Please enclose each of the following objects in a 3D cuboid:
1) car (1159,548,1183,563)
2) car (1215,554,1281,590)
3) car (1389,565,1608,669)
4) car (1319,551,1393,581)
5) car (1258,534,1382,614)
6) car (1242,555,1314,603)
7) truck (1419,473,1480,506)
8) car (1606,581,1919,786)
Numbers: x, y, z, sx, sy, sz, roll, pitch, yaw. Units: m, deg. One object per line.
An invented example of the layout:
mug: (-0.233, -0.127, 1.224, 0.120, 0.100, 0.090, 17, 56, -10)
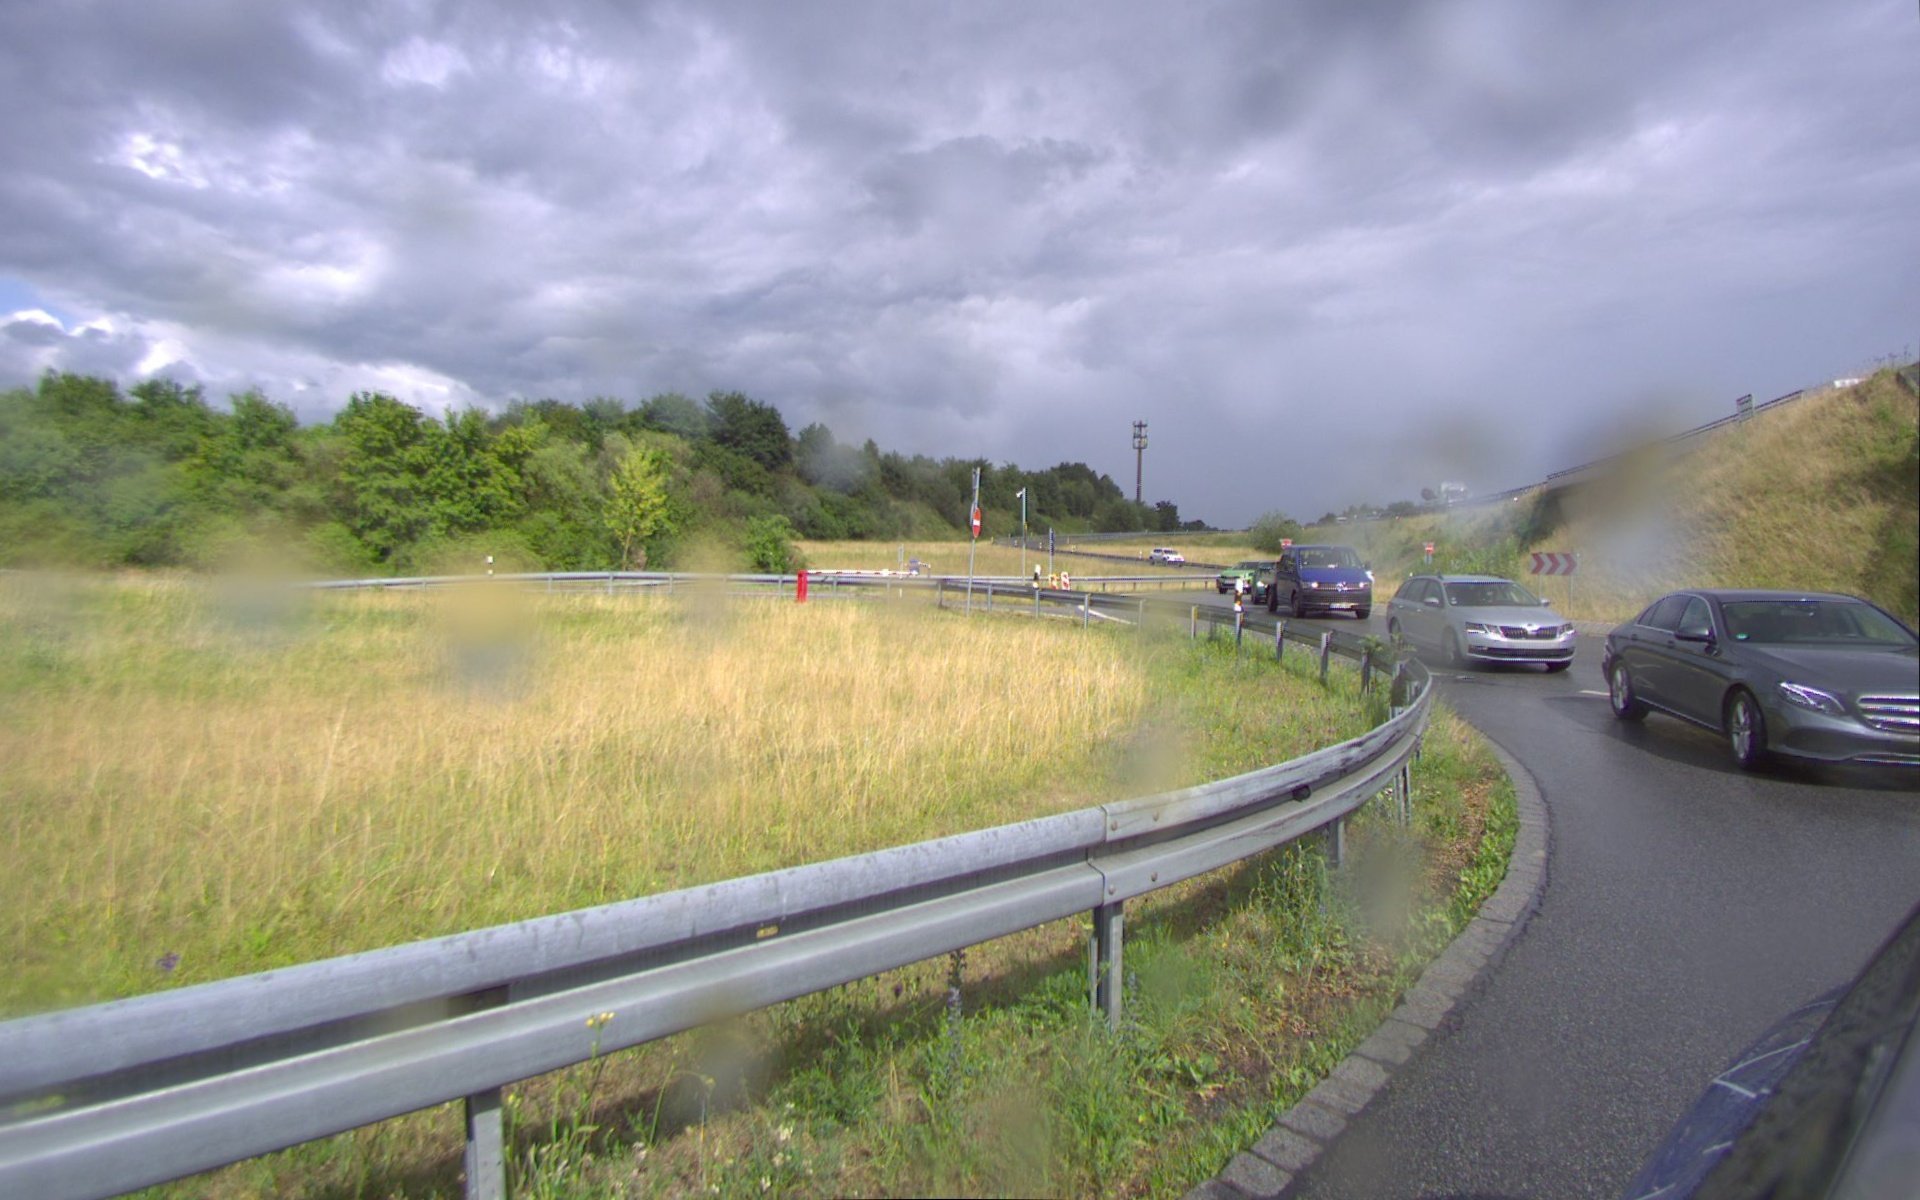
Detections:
car: (18.774, -3.989, 90.153, 1.682, 1.305, 3.770, 1, 3, 6)
car: (12.833, -1.267, 44.980, 1.609, 1.492, 3.798, 3, 4, 36)
car: (8.793, 0.170, 16.997, 1.767, 1.415, 4.343, 0, 3, 7)
car: (20.418, -1.769, 52.133, 3.771, 1.492, 1.620, -1, 3, -32)
car: (9.819, -0.829, 28.120, 1.860, 1.937, 5.678, 1, 4, 5)
car: (10.794, -0.762, 34.532, 1.629, 1.492, 3.841, 1, 3, 7)
truck: (56.776, -12.756, 117.742, 3.104, 3.233, 9.276, -1, 3, 4)
car: (7.695, 0.562, 9.358, 1.748, 1.408, 4.566, 1, 2, 18)
